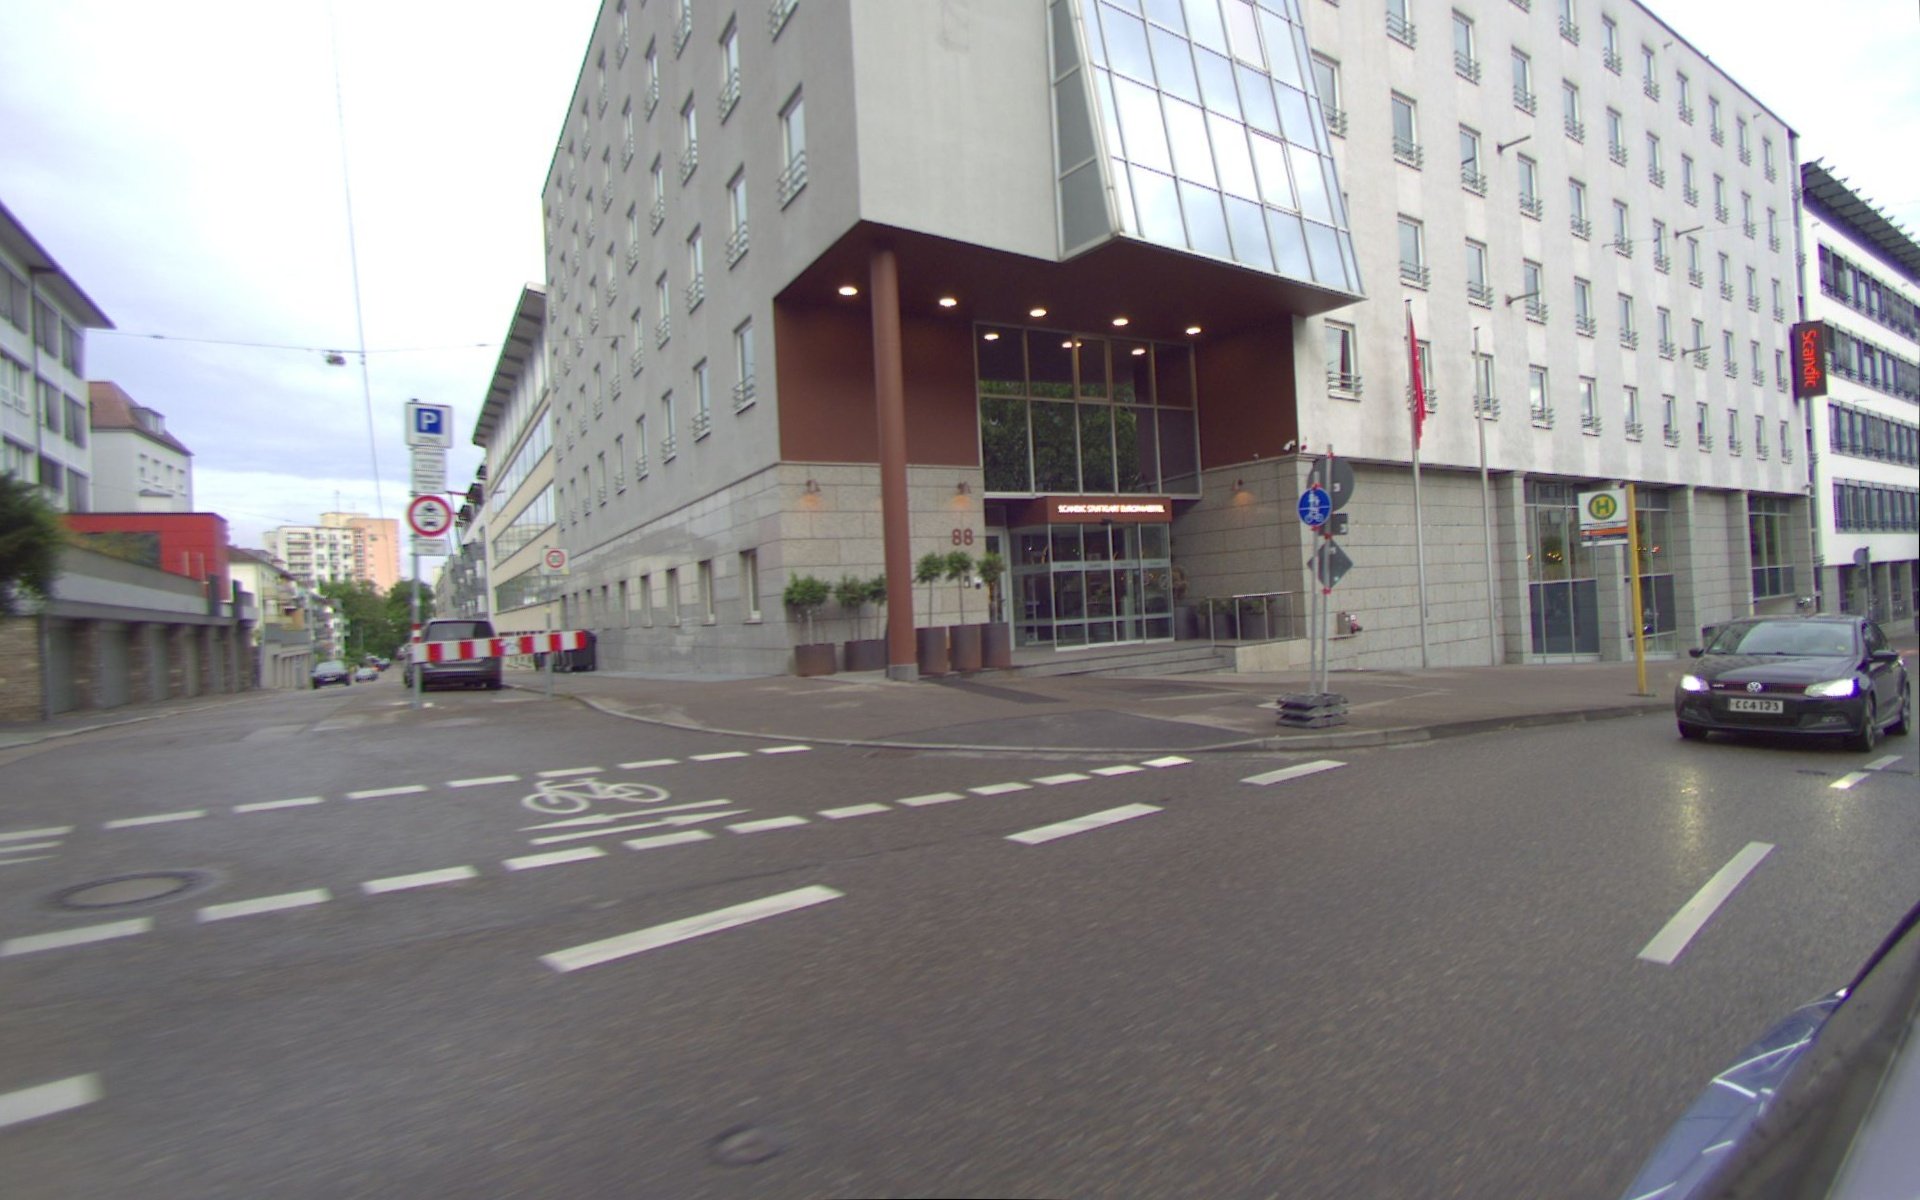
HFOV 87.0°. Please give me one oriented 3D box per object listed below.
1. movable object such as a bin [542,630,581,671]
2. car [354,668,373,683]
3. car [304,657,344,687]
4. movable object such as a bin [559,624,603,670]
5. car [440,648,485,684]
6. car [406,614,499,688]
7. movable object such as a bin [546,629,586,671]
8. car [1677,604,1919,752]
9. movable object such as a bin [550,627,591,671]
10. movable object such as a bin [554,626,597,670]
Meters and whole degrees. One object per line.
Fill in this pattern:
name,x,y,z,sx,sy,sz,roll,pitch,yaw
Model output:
movable object such as a bin,-15.015,1.909,38.117,1.160,1.452,1.185,-2,-3,-30
car,-67.301,8.505,114.249,1.764,1.530,4.501,-2,-3,-30
car,-36.085,4.090,57.521,1.764,1.530,4.501,-2,-3,-30
movable object such as a bin,-12.710,1.583,33.938,1.160,1.452,1.185,-2,-3,-30
car,-23.817,3.178,48.383,1.764,1.530,4.503,-2,-3,-28
car,-11.727,1.184,23.323,1.763,1.530,4.003,0,-4,-28
movable object such as a bin,-14.432,1.827,37.071,1.160,1.452,1.185,-2,-3,-30
car,9.755,0.757,11.601,3.782,1.417,1.676,0,-1,-41
movable object such as a bin,-13.859,1.745,36.024,1.160,1.452,1.185,-2,-3,-30
movable object such as a bin,-13.294,1.665,34.981,1.160,1.452,1.185,-2,-3,-30
